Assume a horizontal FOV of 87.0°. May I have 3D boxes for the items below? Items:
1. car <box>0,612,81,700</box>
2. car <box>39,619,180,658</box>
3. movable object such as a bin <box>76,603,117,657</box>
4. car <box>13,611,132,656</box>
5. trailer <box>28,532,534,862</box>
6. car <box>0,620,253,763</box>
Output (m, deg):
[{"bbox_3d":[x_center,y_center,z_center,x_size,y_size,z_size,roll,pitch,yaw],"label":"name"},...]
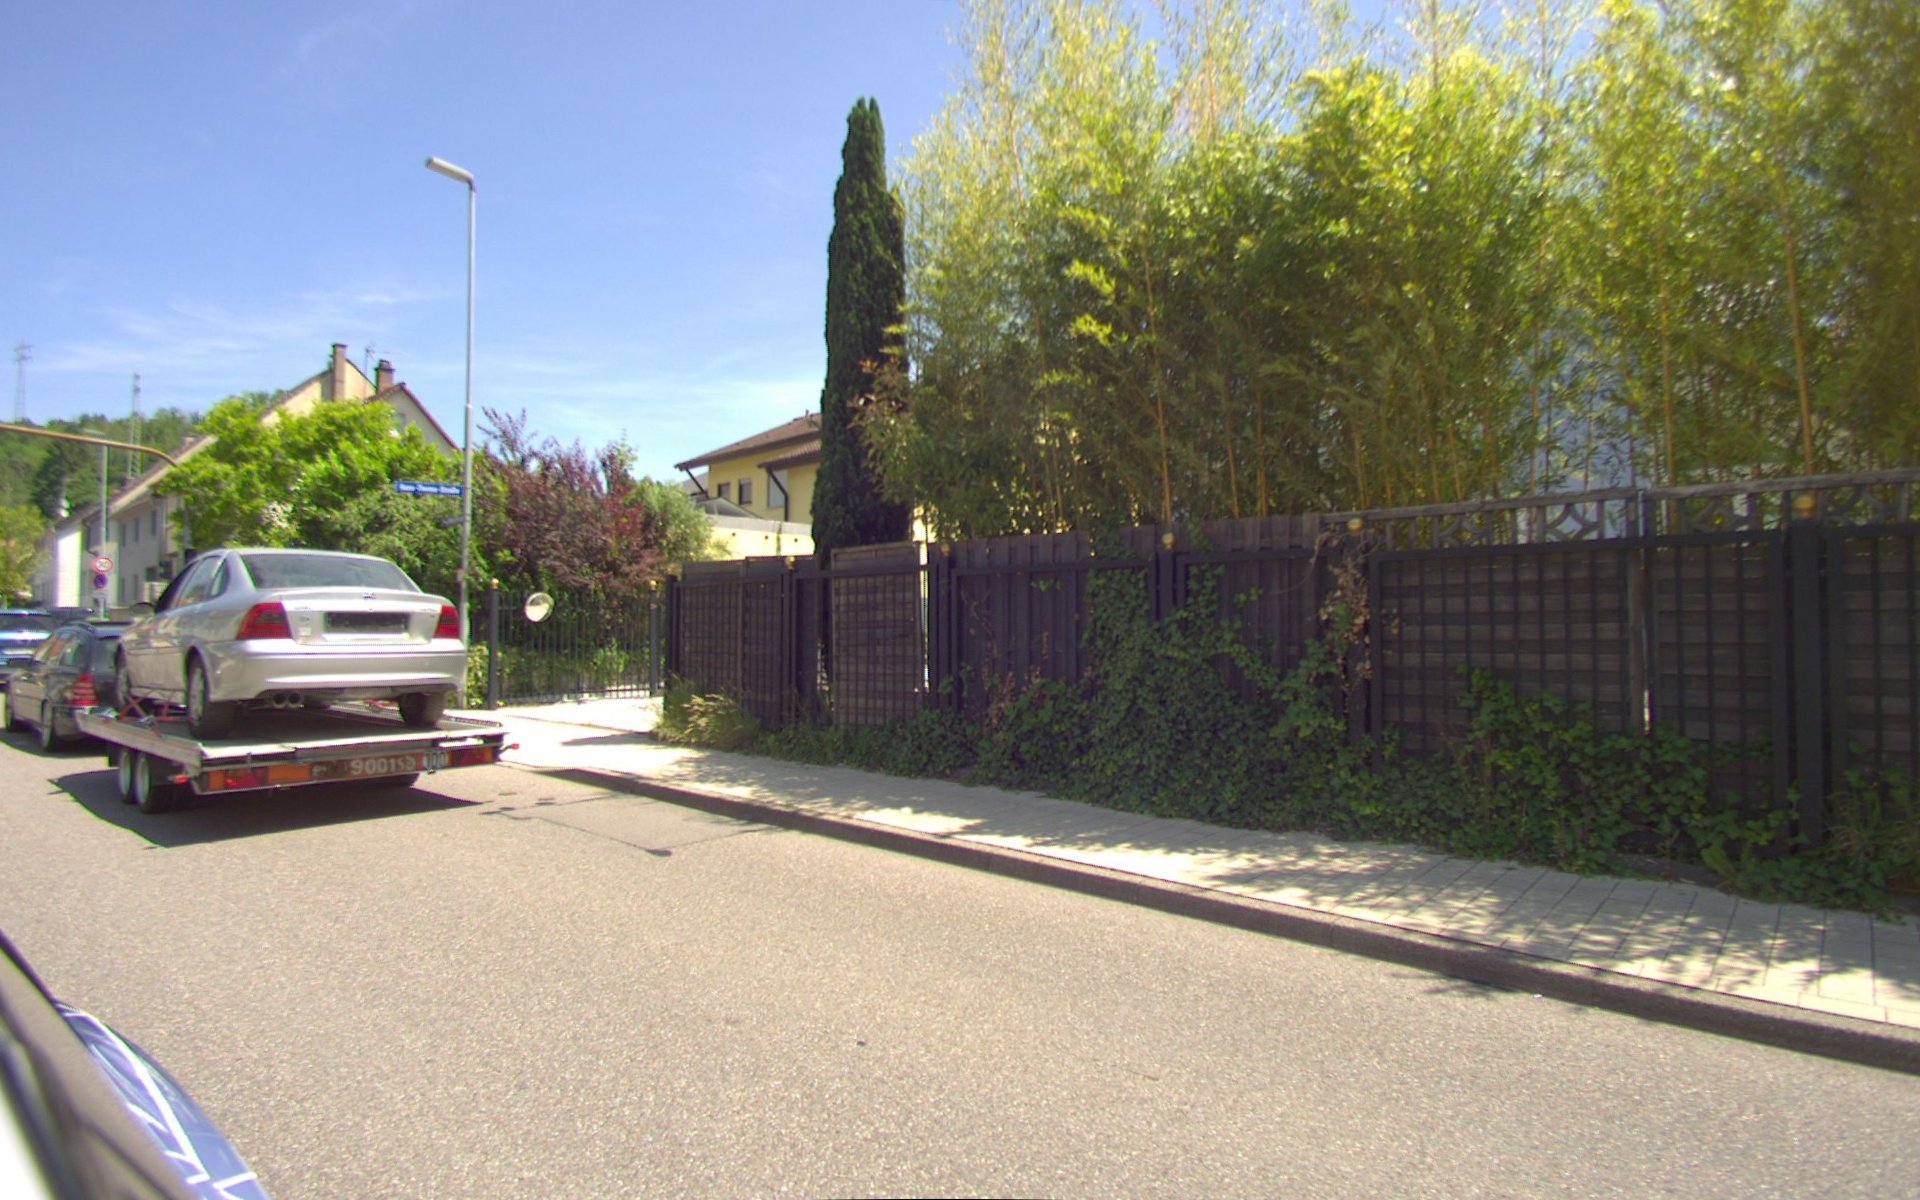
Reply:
[{"bbox_3d":[-19.867,1.076,20.905,4.610,1.658,1.869,0,-2,40],"label":"car"},{"bbox_3d":[-33.870,1.516,40.396,3.986,1.511,1.707,0,0,-9],"label":"car"},{"bbox_3d":[-33.074,1.114,38.764,1.323,2.029,1.048,0,-1,42],"label":"movable object such as a bin"},{"bbox_3d":[-37.424,1.381,42.739,1.847,1.804,3.559,0,0,41],"label":"car"},{"bbox_3d":[-6.314,0.600,8.969,6.197,2.002,2.133,0,0,40],"label":"trailer"},{"bbox_3d":[-10.208,0.957,12.203,4.244,1.413,1.748,-1,-1,40],"label":"car"}]
